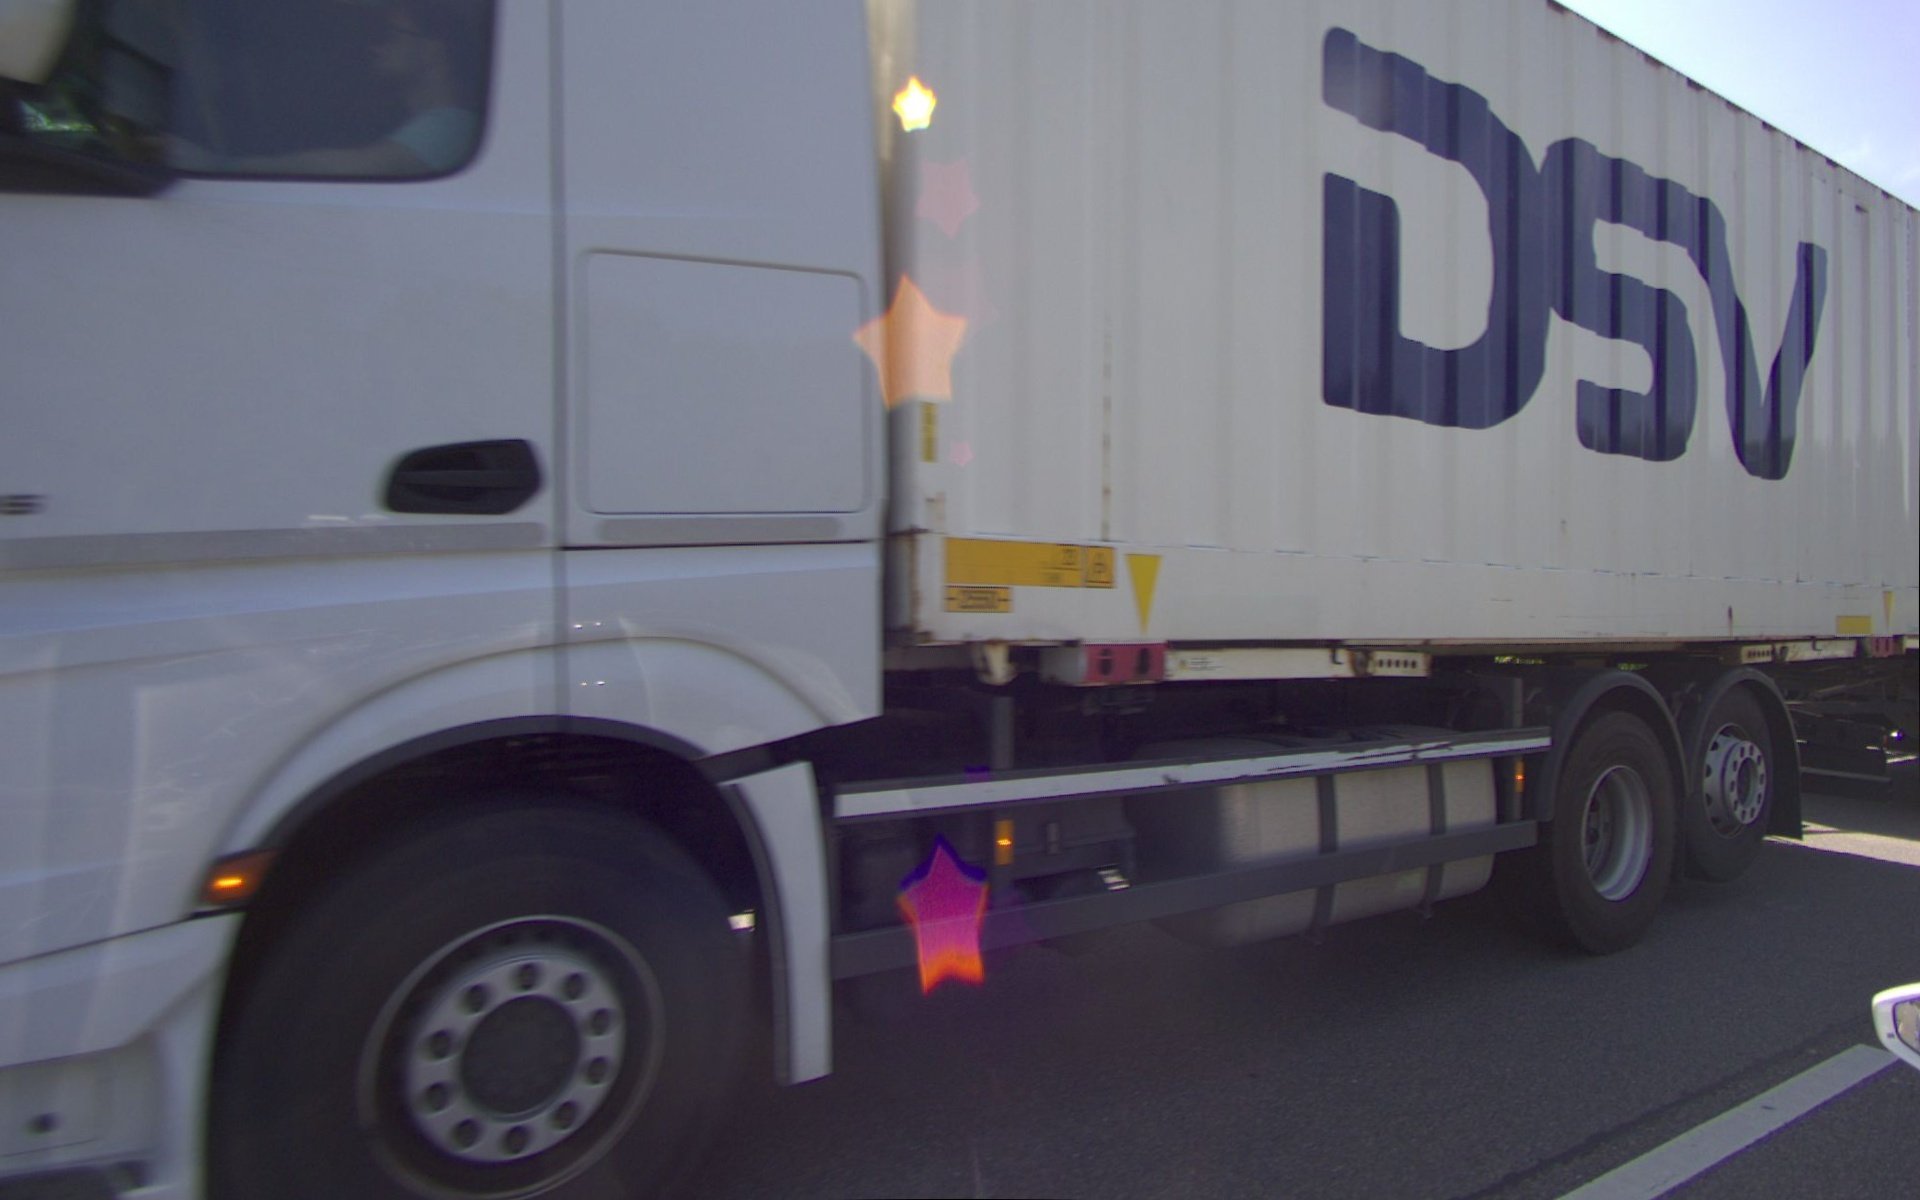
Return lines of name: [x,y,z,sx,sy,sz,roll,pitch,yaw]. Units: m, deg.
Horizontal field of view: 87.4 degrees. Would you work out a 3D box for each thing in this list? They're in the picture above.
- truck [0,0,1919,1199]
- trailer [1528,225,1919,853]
truck: [1.449,-0.524,5.080,9.552,4.096,2.729,1,-1,-31]
trailer: [9.493,-0.328,9.934,8.969,4.096,2.706,1,-1,-31]
